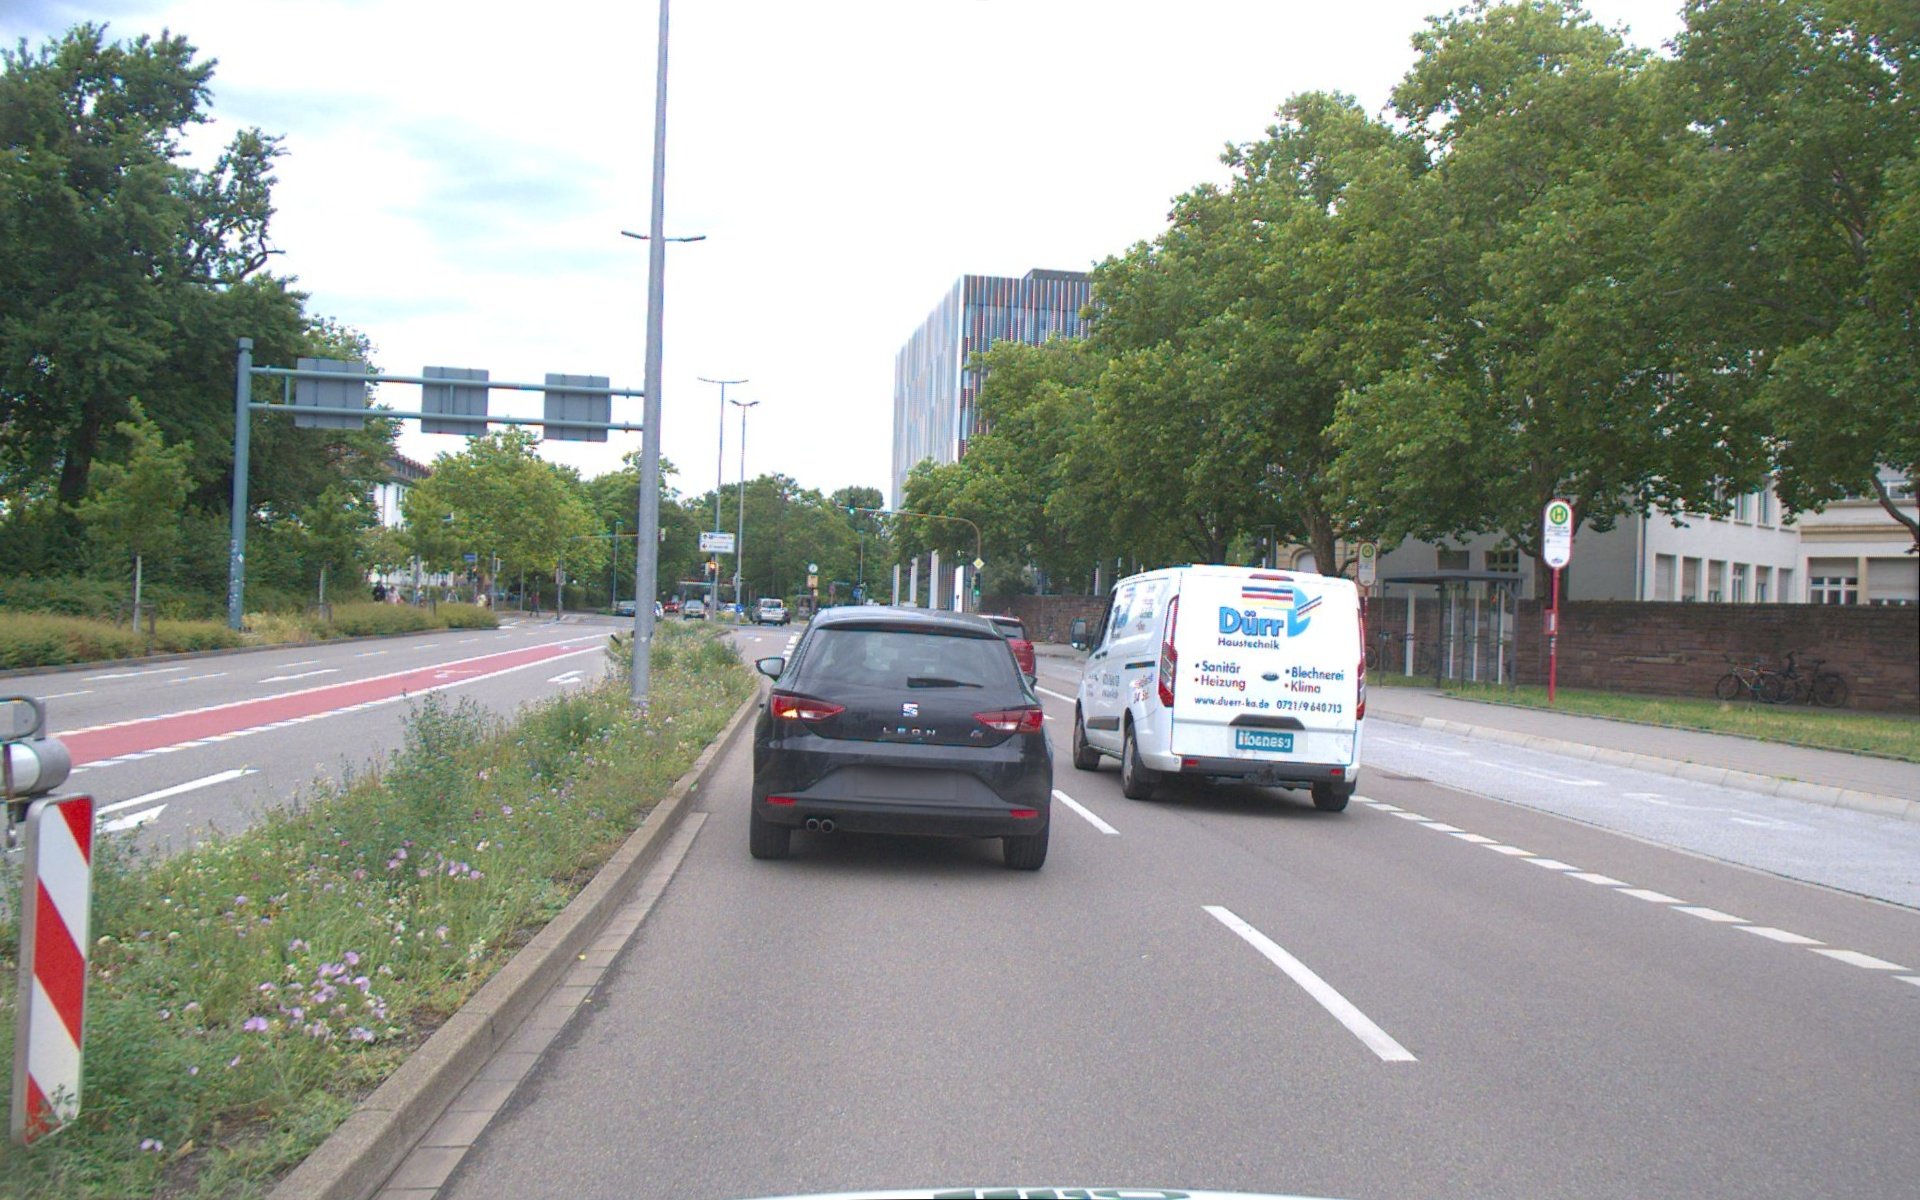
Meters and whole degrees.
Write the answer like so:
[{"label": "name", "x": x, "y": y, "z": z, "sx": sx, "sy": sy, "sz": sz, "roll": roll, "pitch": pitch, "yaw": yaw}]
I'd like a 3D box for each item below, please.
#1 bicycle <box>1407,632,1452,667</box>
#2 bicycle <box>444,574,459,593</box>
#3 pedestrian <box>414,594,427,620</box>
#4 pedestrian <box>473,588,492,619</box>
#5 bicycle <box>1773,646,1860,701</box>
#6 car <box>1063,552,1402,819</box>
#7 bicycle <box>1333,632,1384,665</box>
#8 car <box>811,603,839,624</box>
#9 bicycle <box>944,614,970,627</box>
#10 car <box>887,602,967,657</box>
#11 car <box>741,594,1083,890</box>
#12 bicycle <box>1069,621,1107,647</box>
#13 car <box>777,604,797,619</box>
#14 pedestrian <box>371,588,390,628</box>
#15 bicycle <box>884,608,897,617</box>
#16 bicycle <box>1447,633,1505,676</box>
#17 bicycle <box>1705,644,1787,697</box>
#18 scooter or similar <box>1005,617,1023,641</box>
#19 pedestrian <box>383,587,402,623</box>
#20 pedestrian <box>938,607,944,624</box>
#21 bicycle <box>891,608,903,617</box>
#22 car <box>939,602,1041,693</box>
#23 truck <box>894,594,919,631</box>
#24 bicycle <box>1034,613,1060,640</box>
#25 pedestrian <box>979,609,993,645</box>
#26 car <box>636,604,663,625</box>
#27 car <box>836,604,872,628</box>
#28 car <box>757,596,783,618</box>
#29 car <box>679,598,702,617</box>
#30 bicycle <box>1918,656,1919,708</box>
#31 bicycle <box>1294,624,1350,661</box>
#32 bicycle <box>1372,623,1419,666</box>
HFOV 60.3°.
[{"label": "bicycle", "x": 13.755, "y": 1.448, "z": 48.455, "sx": 0.410, "sy": 0.959, "sz": 1.514, "roll": 0, "pitch": 0, "yaw": -23}, {"label": "bicycle", "x": -31.624, "y": -1.021, "z": 102.785, "sx": 0.657, "sy": 1.081, "sz": 1.607, "roll": 4, "pitch": -2, "yaw": -24}, {"label": "pedestrian", "x": -32.695, "y": 0.431, "z": 100.278, "sx": 0.564, "sy": 1.553, "sz": 0.840, "roll": 2, "pitch": -5, "yaw": -29}, {"label": "pedestrian", "x": -29.291, "y": 0.217, "z": 101.468, "sx": 0.836, "sy": 1.770, "sz": 0.817, "roll": 4, "pitch": -6, "yaw": -44}, {"label": "bicycle", "x": 19.236, "y": 1.646, "z": 37.186, "sx": 0.588, "sy": 1.149, "sz": 1.695, "roll": 0, "pitch": 0, "yaw": -31}, {"label": "car", "x": 2.318, "y": 0.695, "z": 15.323, "sx": 1.929, "sy": 2.006, "sz": 4.338, "roll": 4, "pitch": -1, "yaw": -6}, {"label": "bicycle", "x": 12.414, "y": 1.499, "z": 51.602, "sx": 0.644, "sy": 0.968, "sz": 1.758, "roll": 0, "pitch": 0, "yaw": -23}, {"label": "car", "x": -9.285, "y": 0.890, "z": 113.621, "sx": 1.586, "sy": 1.378, "sz": 3.992, "roll": 0, "pitch": 0, "yaw": -9}, {"label": "bicycle", "x": -0.258, "y": 1.549, "z": 124.671, "sx": 1.863, "sy": 0.914, "sz": 0.691, "roll": 0, "pitch": 0, "yaw": -27}, {"label": "car", "x": -1.120, "y": 0.949, "z": 54.279, "sx": 1.881, "sy": 1.693, "sz": 4.102, "roll": 0, "pitch": 0, "yaw": -12}, {"label": "car", "x": -0.299, "y": 0.771, "z": 10.553, "sx": 1.718, "sy": 1.457, "sz": 3.767, "roll": 3, "pitch": -1, "yaw": -2}, {"label": "bicycle", "x": 5.592, "y": 1.469, "z": 72.526, "sx": 0.926, "sy": 1.092, "sz": 1.958, "roll": 0, "pitch": 0, "yaw": -20}, {"label": "car", "x": -14.255, "y": 0.951, "z": 136.458, "sx": 1.477, "sy": 1.214, "sz": 3.156, "roll": 0, "pitch": 0, "yaw": -9}, {"label": "pedestrian", "x": -25.292, "y": 0.349, "z": 72.176, "sx": 0.608, "sy": 1.759, "sz": 0.817, "roll": 0, "pitch": 0, "yaw": -6}, {"label": "bicycle", "x": -7.429, "y": 1.356, "z": 176.946, "sx": 1.243, "sy": 0.863, "sz": 0.478, "roll": 5, "pitch": -2, "yaw": -28}, {"label": "bicycle", "x": 14.358, "y": 1.513, "z": 46.076, "sx": 0.589, "sy": 1.124, "sz": 1.641, "roll": 0, "pitch": 0, "yaw": -25}, {"label": "bicycle", "x": 18.365, "y": 1.640, "z": 38.665, "sx": 0.588, "sy": 1.156, "sz": 1.695, "roll": 0, "pitch": 0, "yaw": -31}, {"label": "scooter or similar", "x": 2.771, "y": 1.482, "z": 84.989, "sx": 0.423, "sy": 1.200, "sz": 1.704, "roll": 0, "pitch": 0, "yaw": 19}, {"label": "pedestrian", "x": -26.529, "y": 0.245, "z": 77.377, "sx": 0.686, "sy": 1.664, "sz": 0.670, "roll": 0, "pitch": 0, "yaw": -6}, {"label": "pedestrian", "x": -1.592, "y": 1.273, "z": 137.013, "sx": 0.462, "sy": 1.385, "sz": 0.446, "roll": 0, "pitch": 0, "yaw": 4}, {"label": "bicycle", "x": -6.660, "y": 1.312, "z": 174.714, "sx": 1.220, "sy": 0.837, "sz": 0.478, "roll": 5, "pitch": -2, "yaw": -28}, {"label": "car", "x": 0.562, "y": 0.931, "z": 34.346, "sx": 1.910, "sy": 1.652, "sz": 3.748, "roll": 3, "pitch": 0, "yaw": -1}, {"label": "truck", "x": -3.302, "y": 0.750, "z": 101.879, "sx": 1.292, "sy": 2.282, "sz": 3.397, "roll": 0, "pitch": 0, "yaw": -6}, {"label": "bicycle", "x": 4.089, "y": 1.252, "z": 78.112, "sx": 0.788, "sy": 1.194, "sz": 1.949, "roll": -1, "pitch": 0, "yaw": -10}, {"label": "pedestrian", "x": 1.268, "y": 1.317, "z": 80.598, "sx": 0.453, "sy": 1.769, "sz": 0.547, "roll": 1, "pitch": 0, "yaw": -44}, {"label": "car", "x": -22.332, "y": 1.046, "z": 119.014, "sx": 1.576, "sy": 1.405, "sz": 3.804, "roll": 0, "pitch": 0, "yaw": -5}, {"label": "car", "x": -6.492, "y": 0.957, "z": 101.083, "sx": 1.864, "sy": 1.378, "sz": 3.874, "roll": 0, "pitch": 0, "yaw": -9}, {"label": "car", "x": -13.678, "y": 0.512, "z": 118.921, "sx": 1.664, "sy": 1.530, "sz": 4.001, "roll": 0, "pitch": 0, "yaw": -9}, {"label": "car", "x": -21.876, "y": 0.588, "z": 134.261, "sx": 1.732, "sy": 1.486, "sz": 4.779, "roll": 0, "pitch": -1, "yaw": -11}, {"label": "bicycle", "x": 20.802, "y": 1.730, "z": 34.167, "sx": 0.588, "sy": 1.078, "sz": 1.695, "roll": 0, "pitch": 0, "yaw": -31}, {"label": "bicycle", "x": 11.658, "y": 1.359, "z": 53.349, "sx": 0.712, "sy": 1.119, "sz": 1.770, "roll": 0, "pitch": 0, "yaw": -34}, {"label": "bicycle", "x": 13.137, "y": 1.330, "z": 49.938, "sx": 0.492, "sy": 1.243, "sz": 1.615, "roll": 0, "pitch": 0, "yaw": -23}]
